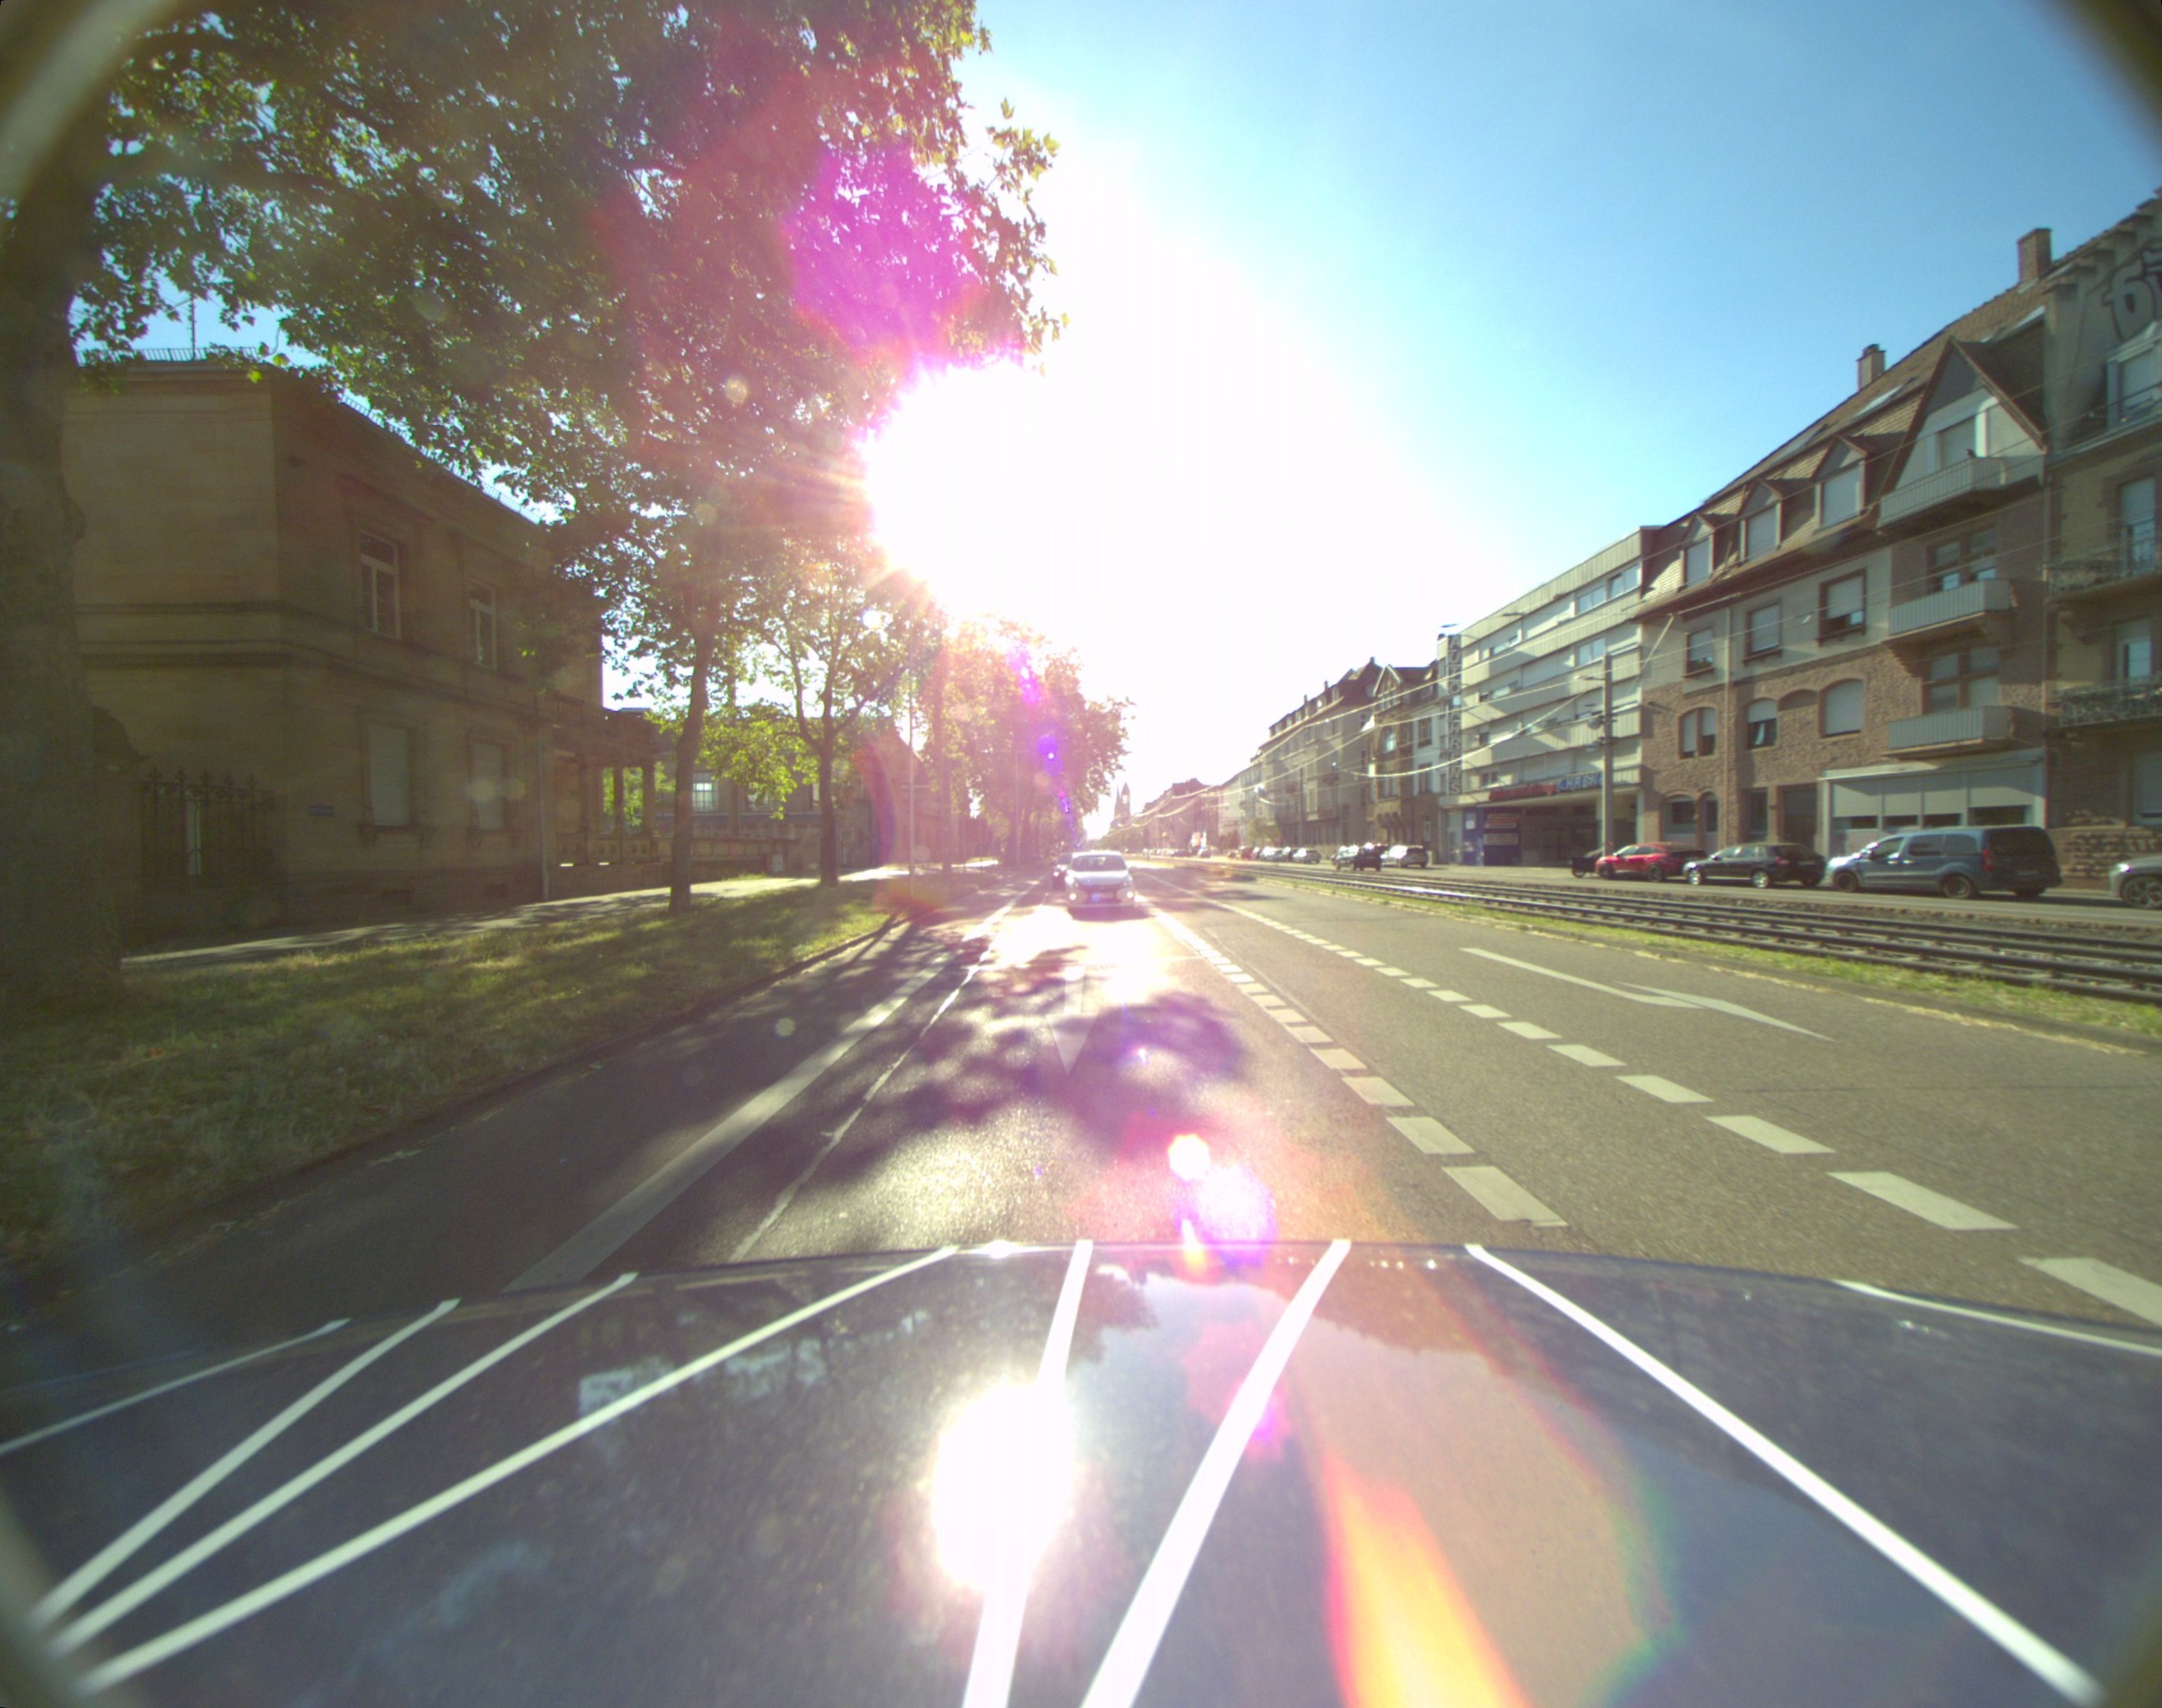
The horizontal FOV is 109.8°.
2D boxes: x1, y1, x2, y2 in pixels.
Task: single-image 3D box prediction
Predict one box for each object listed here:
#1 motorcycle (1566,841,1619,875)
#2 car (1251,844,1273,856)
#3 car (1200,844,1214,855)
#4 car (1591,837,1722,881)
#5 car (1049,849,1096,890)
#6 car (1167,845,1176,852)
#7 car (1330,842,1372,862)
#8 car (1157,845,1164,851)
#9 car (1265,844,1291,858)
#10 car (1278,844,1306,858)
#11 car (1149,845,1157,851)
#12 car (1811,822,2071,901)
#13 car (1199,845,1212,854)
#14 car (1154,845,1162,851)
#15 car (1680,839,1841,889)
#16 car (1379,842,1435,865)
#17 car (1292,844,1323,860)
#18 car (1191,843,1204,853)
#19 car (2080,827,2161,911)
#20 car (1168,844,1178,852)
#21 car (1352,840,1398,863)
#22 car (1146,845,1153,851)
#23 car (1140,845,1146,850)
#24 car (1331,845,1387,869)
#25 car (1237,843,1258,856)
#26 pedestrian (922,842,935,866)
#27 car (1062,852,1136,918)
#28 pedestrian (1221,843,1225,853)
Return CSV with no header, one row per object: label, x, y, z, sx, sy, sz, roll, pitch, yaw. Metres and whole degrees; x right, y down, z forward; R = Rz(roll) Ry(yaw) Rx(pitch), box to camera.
motorcycle,22.670,0.192,33.668,1.860,1.413,0.628,-3,0,0
car,22.688,-0.486,95.506,1.802,1.471,3.822,-2,1,0
car,21.095,-0.766,127.360,1.677,1.623,3.407,-2,1,0
car,22.509,0.179,29.946,1.861,1.490,4.209,-4,1,-1
car,-0.314,0.577,30.410,1.686,1.462,4.054,-2,1,0
car,21.340,-1.340,178.627,1.624,1.581,3.449,-2,1,-1
car,22.393,-0.158,63.114,1.756,1.487,3.727,-3,1,-6
car,21.197,-1.608,202.828,1.624,1.581,3.449,-2,1,-1
car,21.858,-0.316,84.406,1.643,1.438,3.537,-2,1,-8
car,22.267,-0.295,80.331,1.802,1.422,3.822,-2,1,-2
car,20.412,-1.768,215.345,1.624,1.581,3.449,-2,1,-1
car,22.346,0.160,20.080,1.890,1.748,4.417,-4,1,2
car,21.772,-0.795,132.821,1.684,1.562,3.387,-2,1,-1
car,21.057,-1.687,207.735,1.624,1.581,3.449,-2,1,-1
car,22.319,0.285,25.171,1.699,1.429,3.927,-4,1,-1
car,22.479,-0.053,52.591,1.861,1.490,4.381,-2,1,-1
car,22.334,-0.220,75.031,1.802,1.471,3.822,-2,1,0
car,21.881,-1.103,143.029,1.727,1.776,3.880,-2,1,-1
car,22.454,0.290,14.075,1.861,1.613,4.501,-4,1,-1
car,20.897,-1.359,172.778,1.624,1.581,3.449,-2,1,-1
car,22.391,-0.204,58.018,1.860,1.677,4.262,-2,1,0
car,20.274,-1.799,226.016,1.624,1.581,3.449,-2,1,-1
car,20.676,-2.306,253.111,1.624,1.581,3.449,-2,1,-1
car,16.963,0.157,46.630,1.825,1.448,4.164,0,1,-1
car,22.085,-0.617,100.890,1.876,1.727,3.915,-2,1,0
pedestrian,-10.467,-0.025,52.090,0.672,1.653,0.874,0,1,1
car,0.420,0.710,19.742,1.686,1.462,4.054,-2,1,0
pedestrian,25.042,-1.070,133.956,0.725,1.779,0.677,0,1,-1
